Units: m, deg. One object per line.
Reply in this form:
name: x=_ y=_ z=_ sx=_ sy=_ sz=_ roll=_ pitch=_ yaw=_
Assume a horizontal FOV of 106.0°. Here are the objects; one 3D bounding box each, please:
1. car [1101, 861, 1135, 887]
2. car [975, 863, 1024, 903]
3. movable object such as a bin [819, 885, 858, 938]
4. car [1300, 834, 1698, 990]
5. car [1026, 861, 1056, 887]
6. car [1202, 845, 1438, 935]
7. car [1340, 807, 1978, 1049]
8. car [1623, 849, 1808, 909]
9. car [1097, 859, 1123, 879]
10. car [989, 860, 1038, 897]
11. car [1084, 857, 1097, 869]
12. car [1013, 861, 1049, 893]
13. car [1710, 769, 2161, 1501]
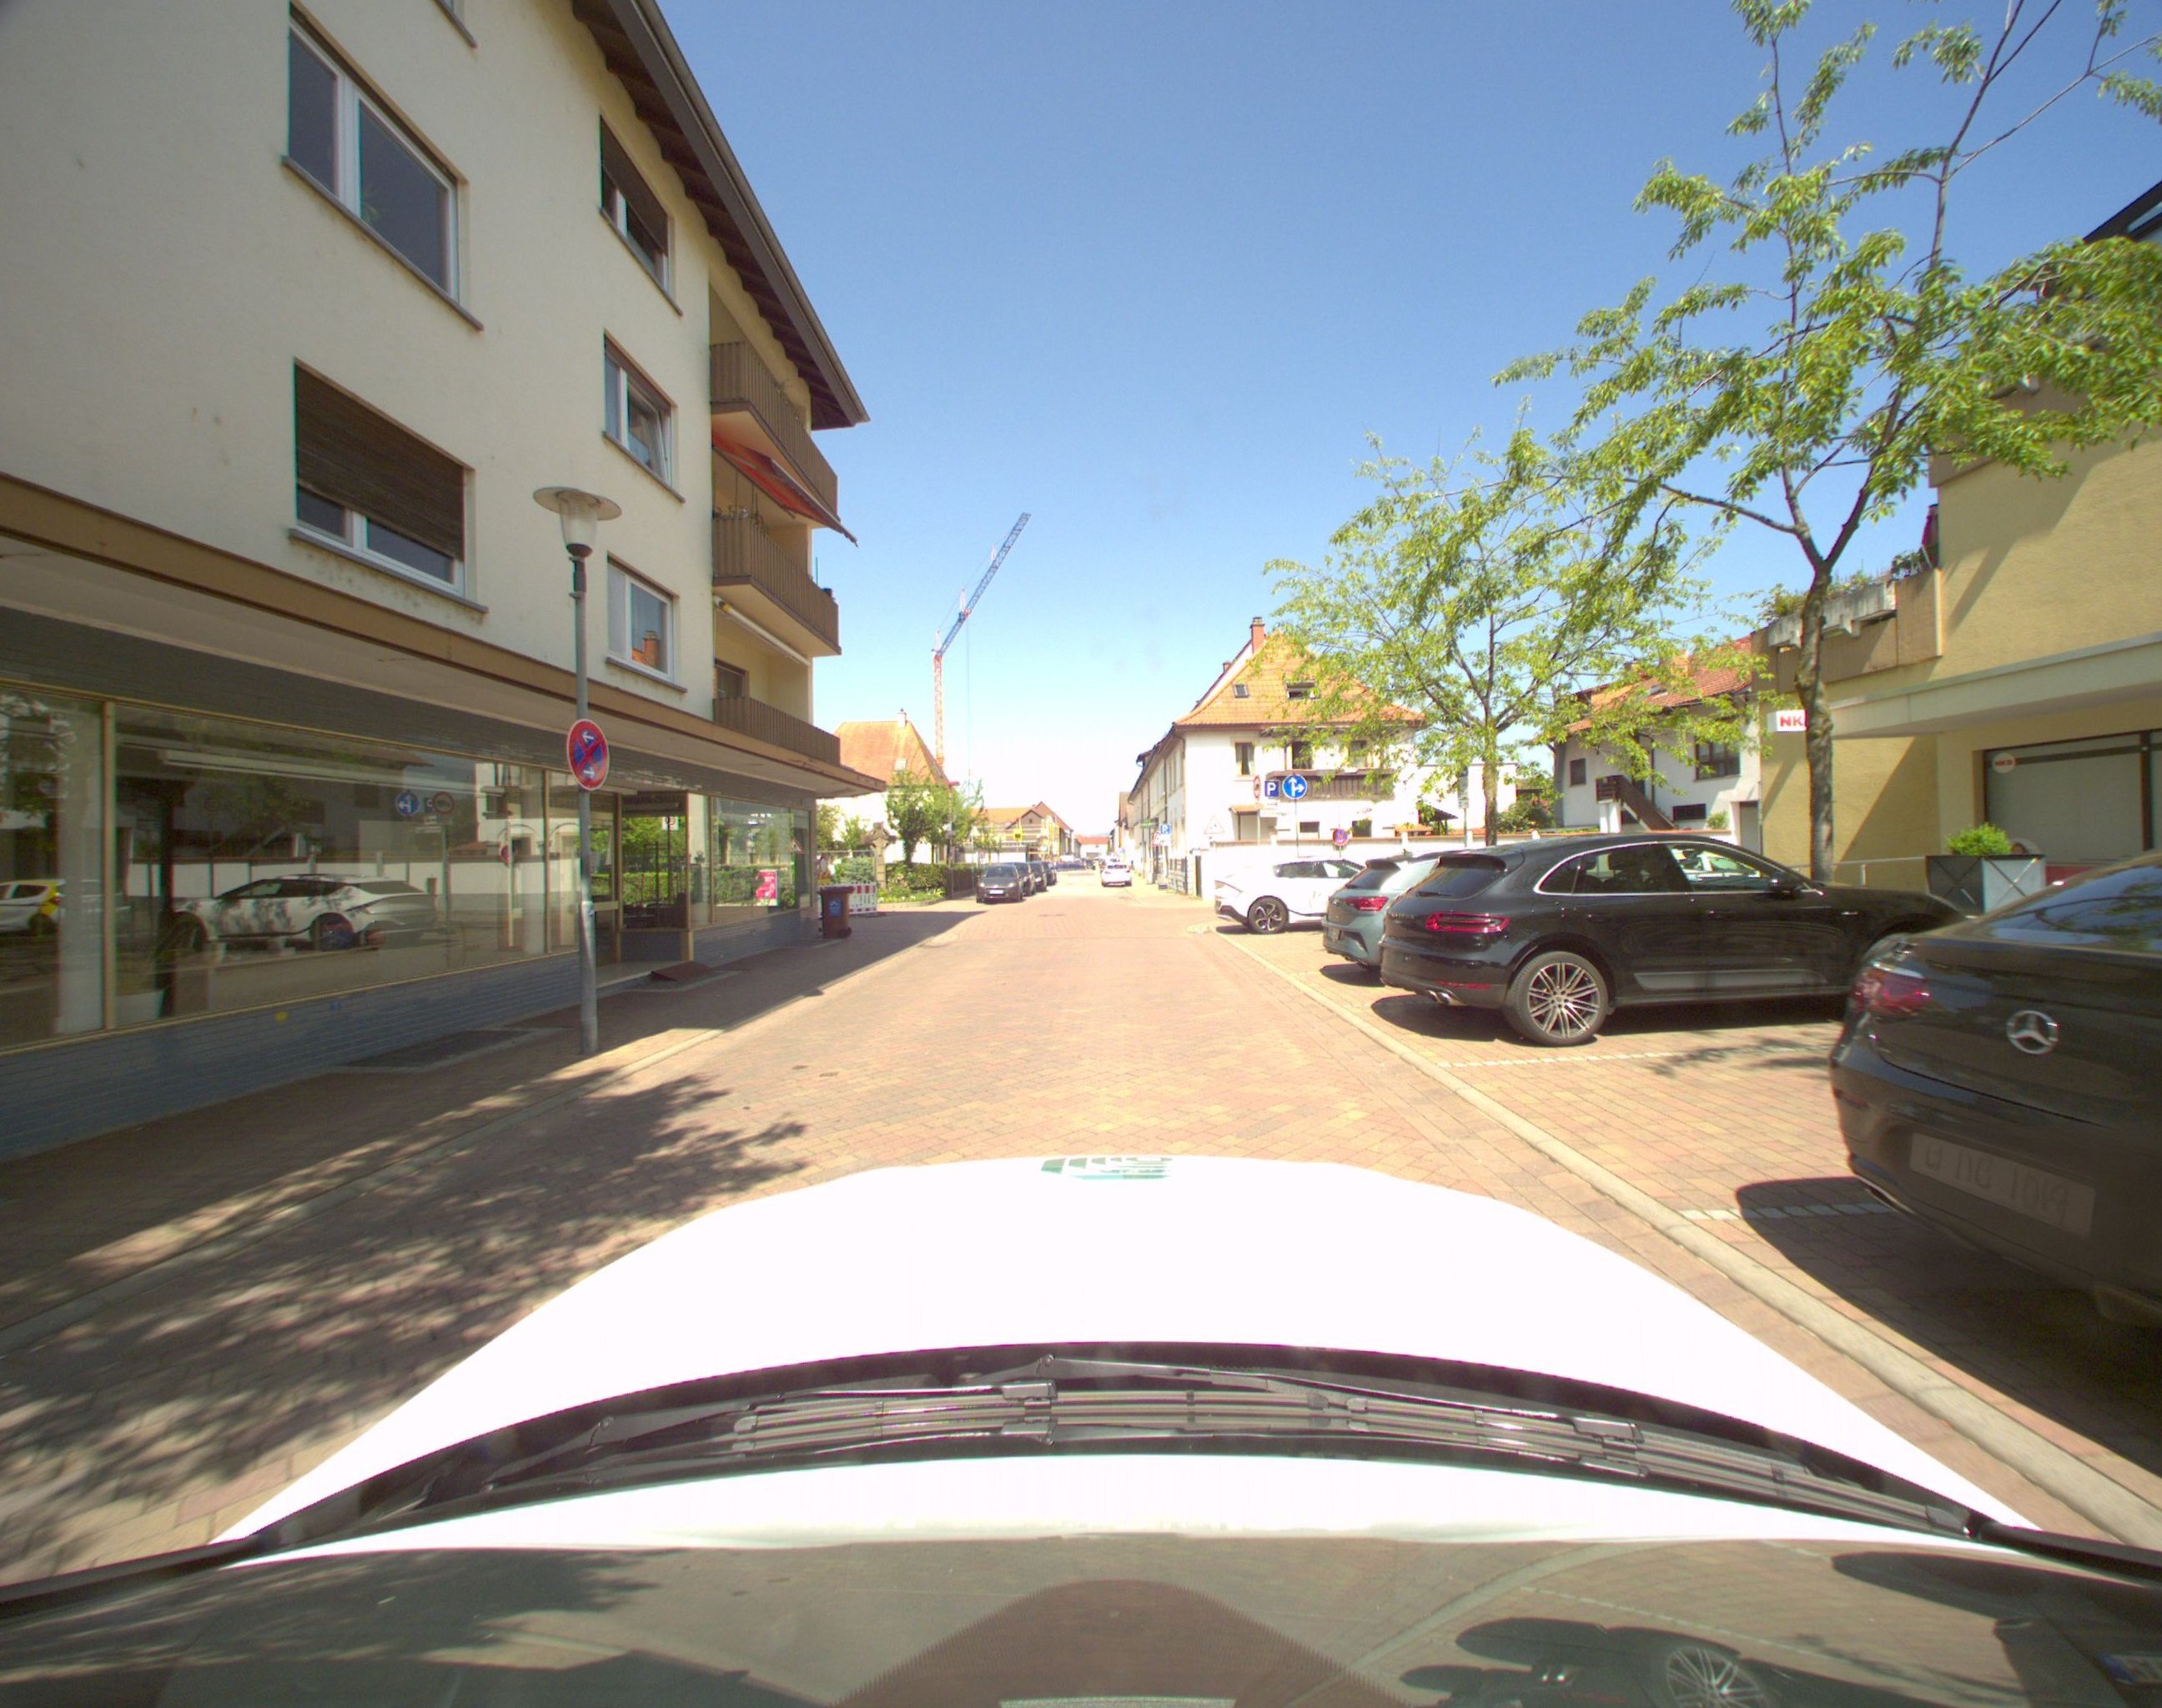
car: x=2.378 y=1.228 z=51.366 sx=1.877 sy=1.542 sz=4.250 roll=-1 pitch=0 yaw=6
car: x=-3.220 y=1.115 z=32.910 sx=1.698 sy=1.497 sz=3.854 roll=-1 pitch=0 yaw=-2
movable object such as a bin: x=-5.131 y=1.207 z=17.265 sx=0.654 sy=1.070 sz=0.663 roll=0 pitch=-1 yaw=-5
car: x=4.941 y=0.660 z=10.062 sx=3.930 sy=1.534 sz=1.824 roll=-3 pitch=-1 yaw=0
car: x=-2.684 y=1.330 z=55.212 sx=1.821 sy=1.630 sz=4.215 roll=-1 pitch=0 yaw=-1
car: x=4.955 y=0.729 z=17.298 sx=4.428 sy=1.576 sz=1.788 roll=-3 pitch=0 yaw=-2
car: x=4.791 y=0.568 z=7.265 sx=4.267 sy=1.681 sz=1.999 roll=-2 pitch=-1 yaw=-2
car: x=16.756 y=0.640 z=21.633 sx=3.601 sy=1.452 sz=1.656 roll=-1 pitch=0 yaw=2
car: x=2.512 y=1.272 z=71.077 sx=1.879 sy=1.556 sz=3.891 roll=-5 pitch=0 yaw=-2
car: x=-3.144 y=1.127 z=38.759 sx=1.808 sy=1.605 sz=4.027 roll=-1 pitch=0 yaw=2
car: x=1.482 y=1.347 z=122.657 sx=1.875 sy=1.668 sz=4.153 roll=-1 pitch=0 yaw=0
car: x=-2.679 y=1.233 z=44.428 sx=1.632 sy=1.629 sz=3.768 roll=-1 pitch=0 yaw=0
car: x=4.581 y=0.512 z=2.015 sx=4.488 sy=1.588 sz=1.852 roll=-3 pitch=0 yaw=3
